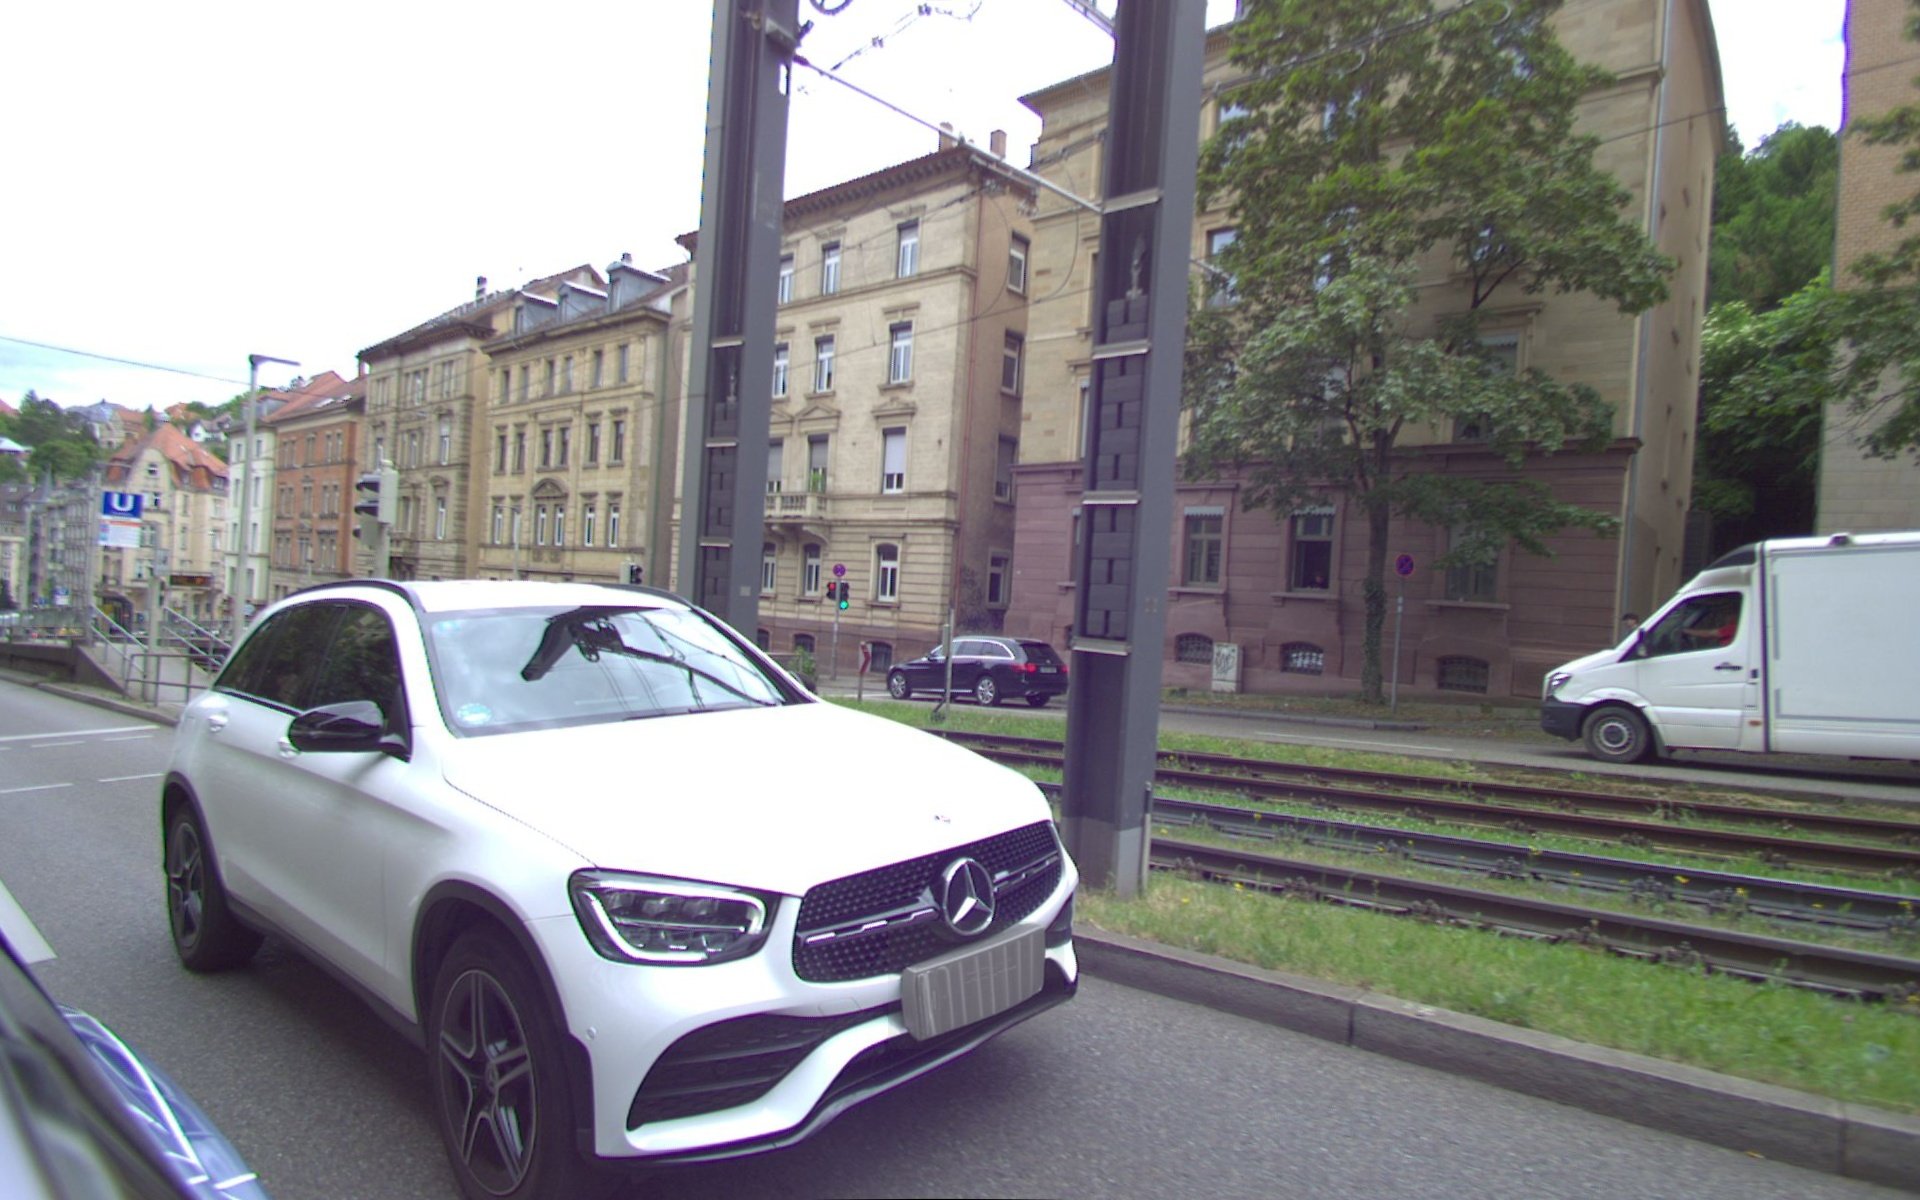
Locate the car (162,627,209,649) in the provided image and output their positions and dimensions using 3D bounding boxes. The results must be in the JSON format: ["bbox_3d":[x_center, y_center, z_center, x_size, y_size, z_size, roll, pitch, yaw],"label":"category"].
[{"bbox_3d":[-55.702,2.740,72.771,3.998,1.540,1.858,-2,-4,41],"label":"car"}]

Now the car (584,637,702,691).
[{"bbox_3d":[-8.889,1.737,28.228,3.655,1.388,1.559,-2,-3,44],"label":"car"}]

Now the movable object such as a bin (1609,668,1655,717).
[{"bbox_3d":[12.212,1.664,18.392,0.628,0.842,0.576,-2,-3,41],"label":"movable object such as a bin"}]

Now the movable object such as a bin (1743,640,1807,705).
[{"bbox_3d":[16.460,1.445,20.447,0.916,1.257,0.882,-2,-4,44],"label":"movable object such as a bin"}]

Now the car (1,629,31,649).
[{"bbox_3d":[-110.558,4.607,118.536,5.452,2.322,1.973,-2,-3,41],"label":"car"}]

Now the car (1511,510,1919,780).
[{"bbox_3d":[10.141,0.533,11.379,2.364,2.720,6.524,5,-5,-43],"label":"car"}]

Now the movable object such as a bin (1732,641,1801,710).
[{"bbox_3d":[15.199,1.405,19.078,0.916,1.257,0.882,-2,-4,44],"label":"movable object such as a bin"}]

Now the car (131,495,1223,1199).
[{"bbox_3d":[-1.552,0.700,3.920,4.668,1.679,1.816,-1,-1,41],"label":"car"}]

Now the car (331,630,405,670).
[{"bbox_3d":[-29.028,2.415,49.596,4.136,1.874,1.829,-2,-3,41],"label":"car"}]

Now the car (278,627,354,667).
[{"bbox_3d":[-29.458,2.144,46.254,4.574,1.749,1.691,-2,-3,42],"label":"car"}]

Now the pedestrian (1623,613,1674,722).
[{"bbox_3d":[11.934,1.152,17.547,0.630,1.826,0.768,-2,-3,40],"label":"pedestrian"}]

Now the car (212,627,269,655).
[{"bbox_3d":[-44.466,2.533,62.501,3.997,1.692,1.916,-2,-4,41],"label":"car"}]

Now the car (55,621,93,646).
[{"bbox_3d":[-84.820,3.230,96.895,5.452,2.322,1.973,-2,-3,41],"label":"car"}]

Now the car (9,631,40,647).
[{"bbox_3d":[-99.296,4.145,107.381,4.411,1.658,1.843,-2,-3,40],"label":"car"}]

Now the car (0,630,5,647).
[{"bbox_3d":[-109.919,4.374,114.576,4.411,1.909,1.973,-2,-3,40],"label":"car"}]

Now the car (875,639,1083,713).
[{"bbox_3d":[0.311,1.607,22.255,1.728,1.439,4.752,4,-4,-43],"label":"car"}]
